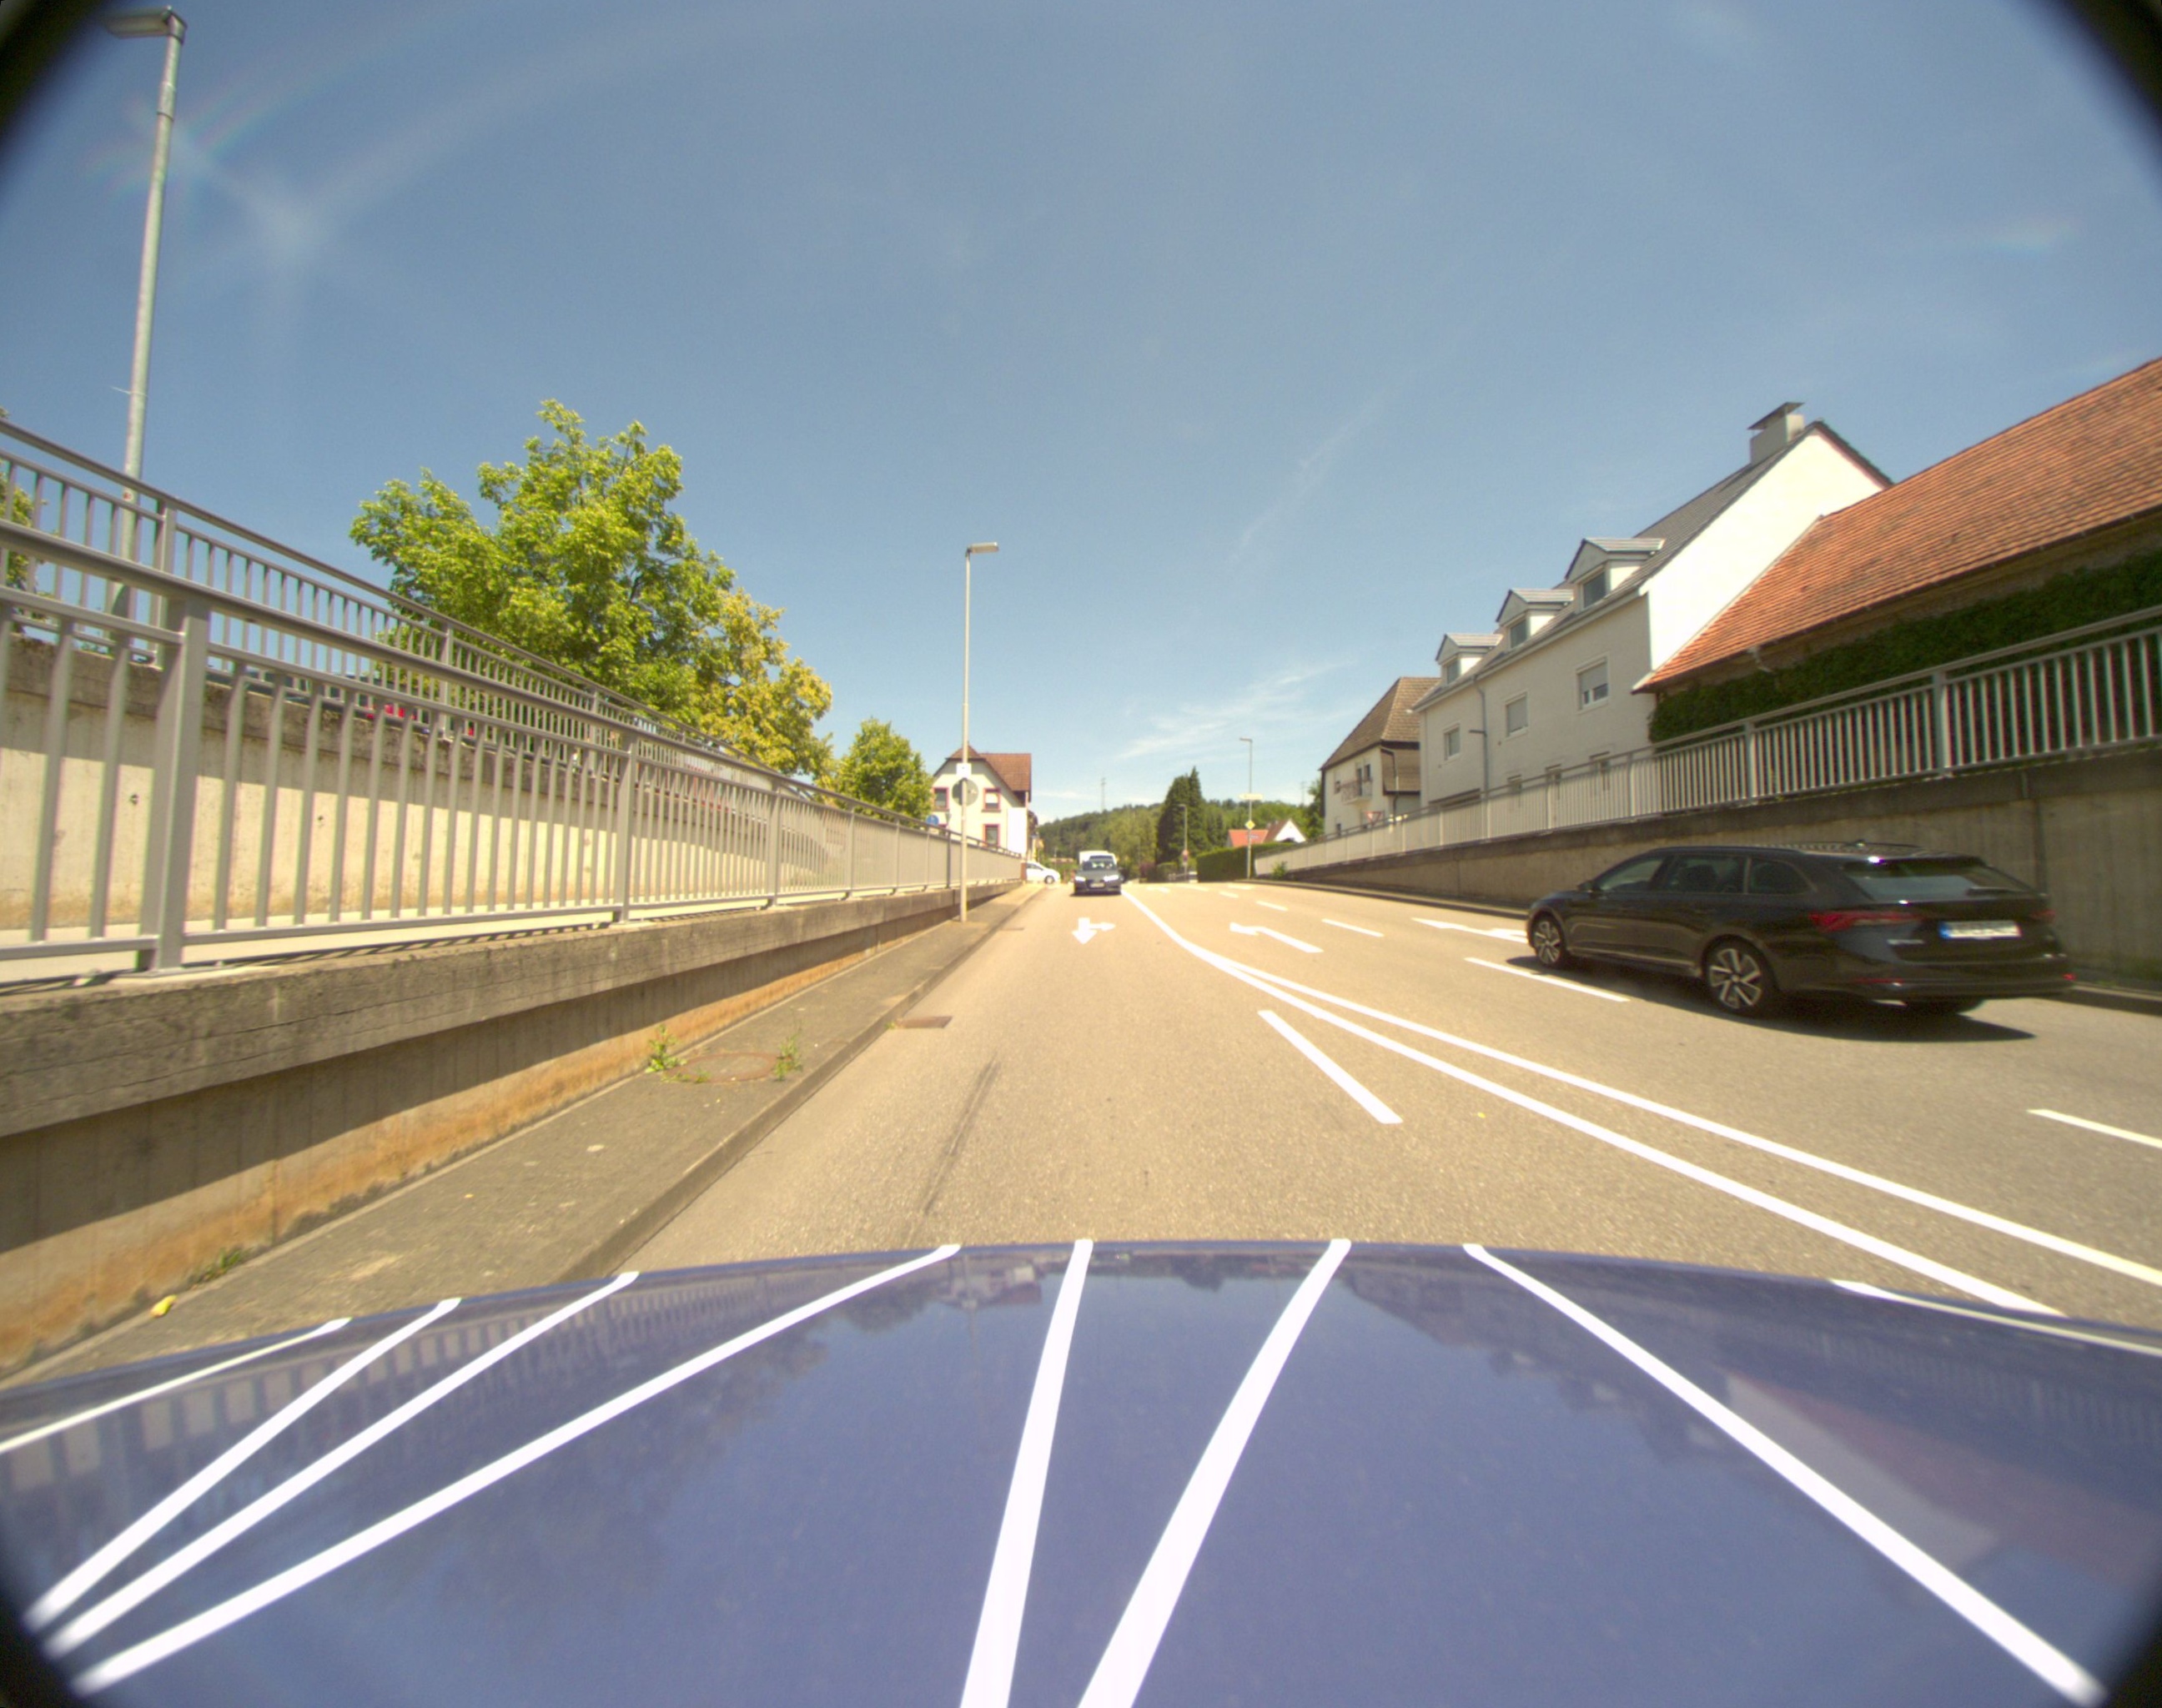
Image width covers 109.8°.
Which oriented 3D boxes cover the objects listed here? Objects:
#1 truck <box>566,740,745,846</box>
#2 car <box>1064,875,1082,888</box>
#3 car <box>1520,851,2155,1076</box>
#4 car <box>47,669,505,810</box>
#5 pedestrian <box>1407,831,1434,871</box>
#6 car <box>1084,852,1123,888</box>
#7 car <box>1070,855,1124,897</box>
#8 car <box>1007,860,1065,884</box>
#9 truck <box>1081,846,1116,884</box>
[{"bbox_3d":[-11.777,-1.551,21.596,2.138,2.319,5.262,0,-3,0],"label":"truck"},{"bbox_3d":[-1.029,3.596,99.531,1.998,1.510,4.145,-1,0,3],"label":"car"},{"bbox_3d":[6.353,0.731,7.296,1.765,1.480,4.368,-1,0,0],"label":"car"},{"bbox_3d":[-10.304,-1.420,9.962,4.215,1.489,1.687,0,-3,1],"label":"car"},{"bbox_3d":[14.932,-0.115,33.435,0.729,1.719,0.856,-2,0,-3],"label":"pedestrian"},{"bbox_3d":[1.323,0.902,45.755,1.999,2.002,4.547,-2,1,-2],"label":"car"},{"bbox_3d":[0.559,0.814,29.795,1.864,1.441,3.999,-2,0,-2],"label":"car"},{"bbox_3d":[-2.990,1.176,50.167,3.681,1.469,1.775,1,-1,-5],"label":"car"},{"bbox_3d":[1.618,1.118,73.091,3.149,3.465,8.274,-1,-2,0],"label":"truck"}]
